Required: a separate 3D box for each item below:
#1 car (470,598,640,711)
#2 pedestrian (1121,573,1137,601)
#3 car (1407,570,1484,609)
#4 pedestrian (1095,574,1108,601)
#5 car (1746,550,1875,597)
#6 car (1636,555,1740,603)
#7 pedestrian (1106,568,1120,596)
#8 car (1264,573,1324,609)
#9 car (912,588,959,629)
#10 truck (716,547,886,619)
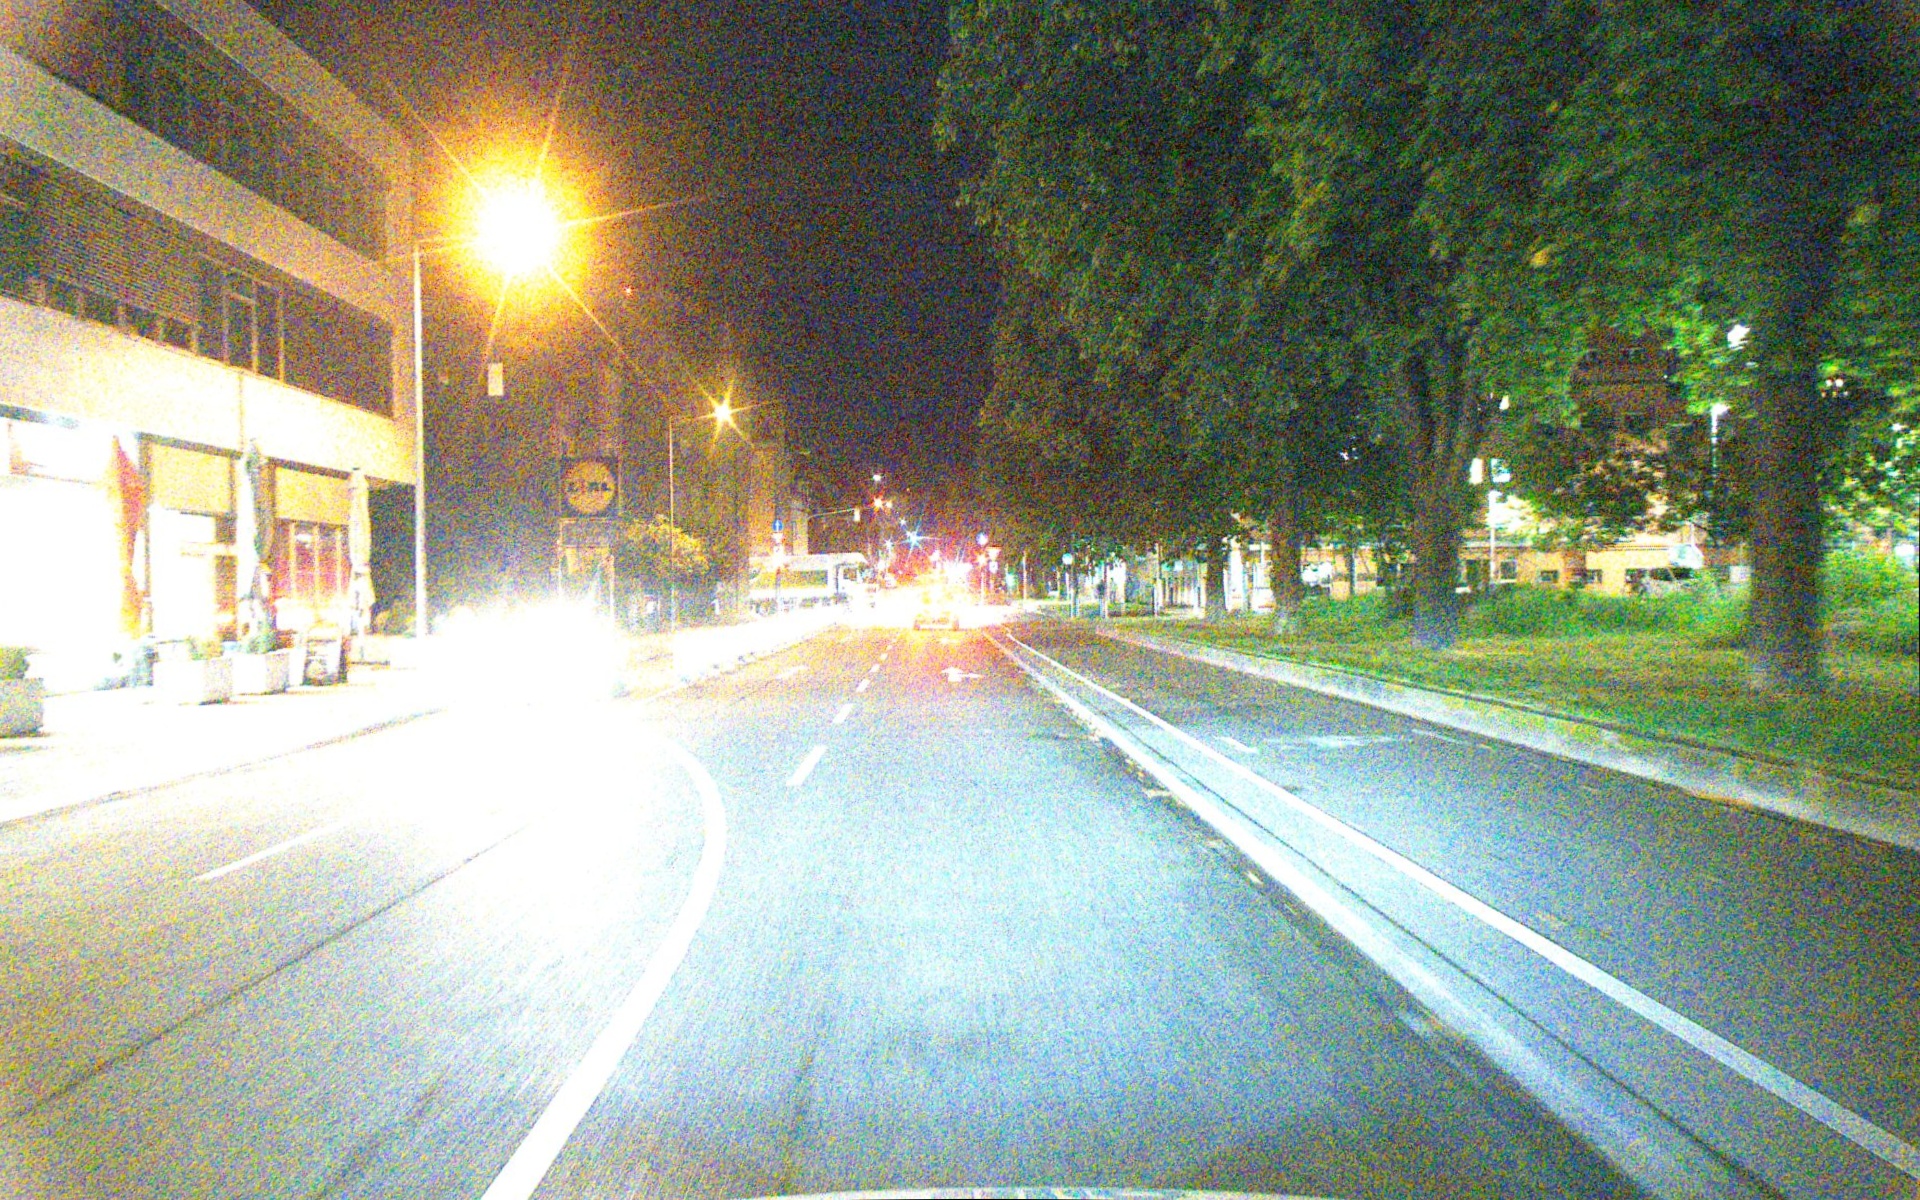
[{"bbox_3d":[-5.996,0.745,24.913,1.633,1.453,3.998,-3,0,-2],"label":"car"},{"bbox_3d":[11.315,-0.881,110.530,0.883,1.799,0.906,-2,1,-3],"label":"pedestrian"},{"bbox_3d":[20.559,-0.459,70.227,1.747,1.560,3.995,-2,1,-6],"label":"car"},{"bbox_3d":[9.405,-0.850,110.160,0.699,1.799,0.907,-2,1,-2],"label":"pedestrian"},{"bbox_3d":[30.015,-0.912,58.545,1.851,1.539,4.890,-2,1,-2],"label":"car"},{"bbox_3d":[25.340,-0.715,57.716,1.732,1.560,4.098,-2,1,-1],"label":"car"},{"bbox_3d":[10.206,-1.184,110.282,0.724,1.799,0.907,-2,1,-2],"label":"pedestrian"},{"bbox_3d":[14.100,-0.379,70.022,1.482,1.419,4.480,-2,0,-2],"label":"car"},{"bbox_3d":[-0.944,0.311,64.714,1.768,1.520,4.729,1,0,-1],"label":"car"},{"bbox_3d":[-9.507,-0.998,98.307,9.878,3.782,2.763,-3,0,25],"label":"truck"}]
